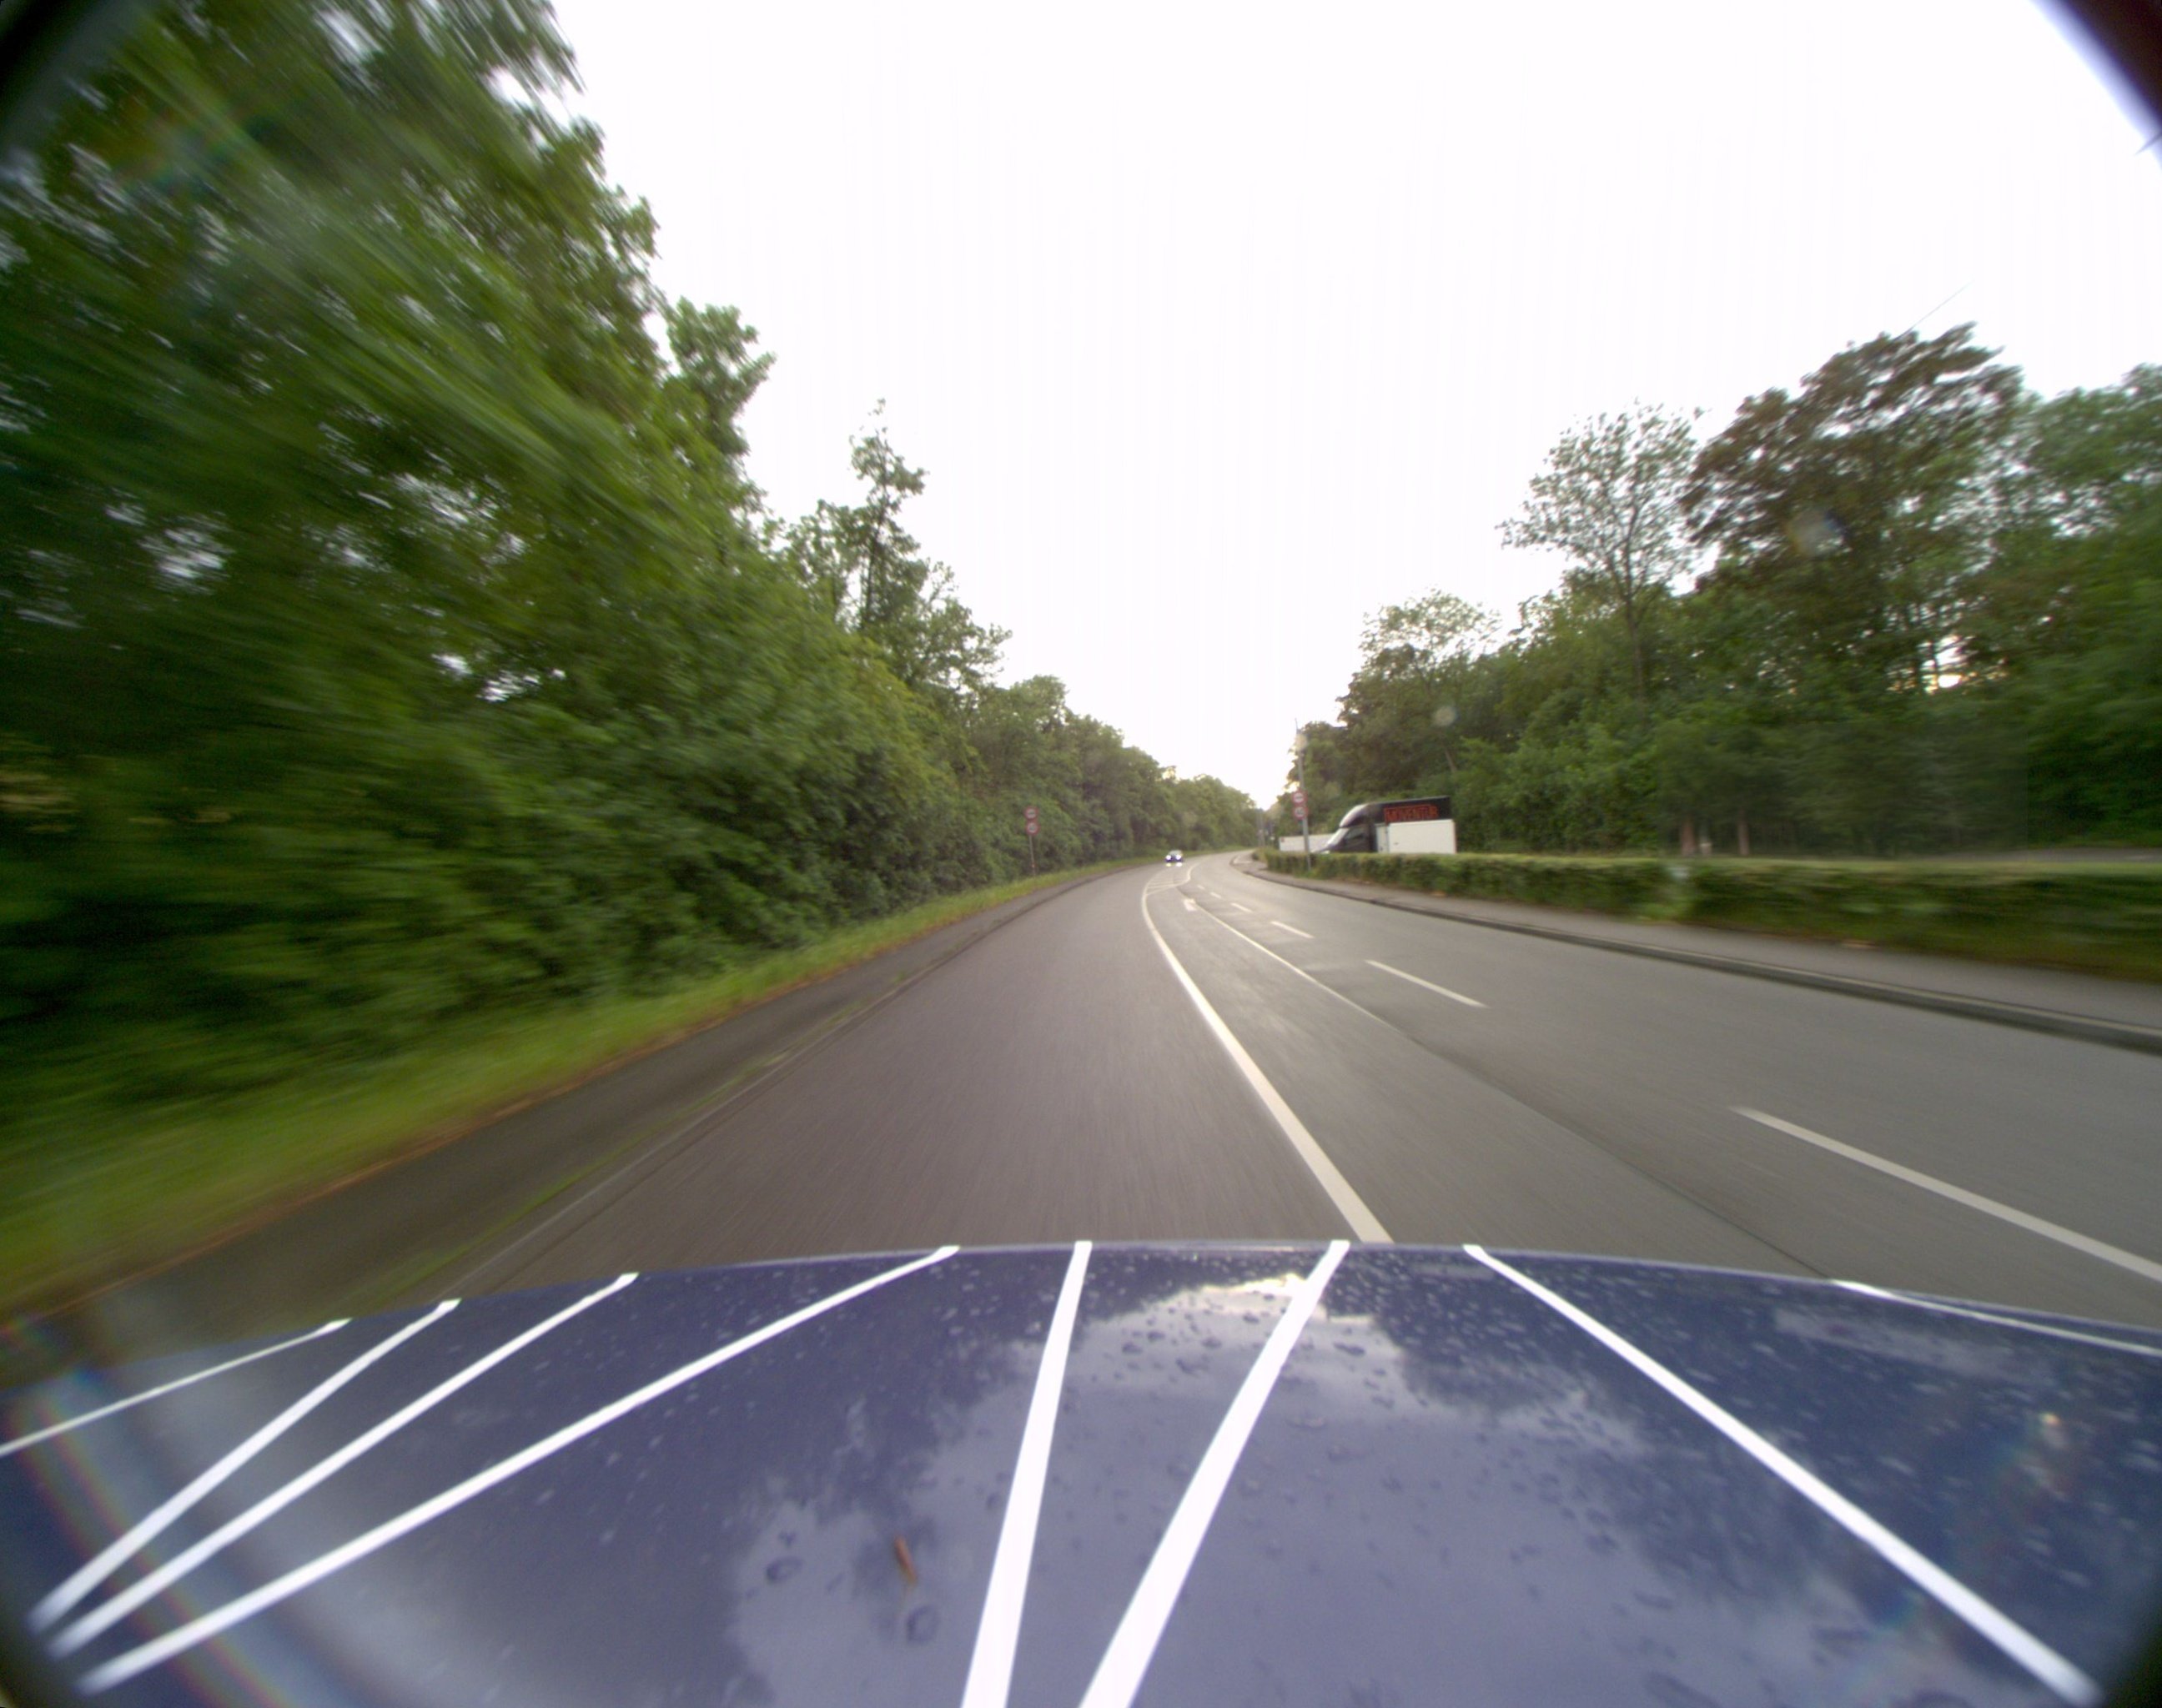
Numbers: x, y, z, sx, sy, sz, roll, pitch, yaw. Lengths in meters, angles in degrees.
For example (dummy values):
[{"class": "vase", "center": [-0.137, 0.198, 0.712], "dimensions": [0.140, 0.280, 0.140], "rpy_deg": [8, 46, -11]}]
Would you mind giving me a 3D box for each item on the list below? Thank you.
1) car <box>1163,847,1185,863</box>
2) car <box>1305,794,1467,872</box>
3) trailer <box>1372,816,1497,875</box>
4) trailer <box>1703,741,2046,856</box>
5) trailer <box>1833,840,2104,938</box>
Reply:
[{"class": "car", "center": [11.192, 0.129, 91.149], "dimensions": [1.996, 1.674, 4.003], "rpy_deg": [-3, 1, 14]}, {"class": "car", "center": [14.058, -0.968, 35.402], "dimensions": [6.287, 3.096, 2.751], "rpy_deg": [-4, 1, 2]}, {"class": "trailer", "center": [13.848, -0.328, 29.971], "dimensions": [3.995, 2.041, 1.873], "rpy_deg": [-3, 1, 5]}, {"class": "trailer", "center": [23.859, -1.483, 23.715], "dimensions": [2.482, 2.857, 7.977], "rpy_deg": [-3, 0, 2]}, {"class": "trailer", "center": [10.952, 0.399, 9.474], "dimensions": [1.806, 1.028, 1.334], "rpy_deg": [-4, 0, -1]}]
